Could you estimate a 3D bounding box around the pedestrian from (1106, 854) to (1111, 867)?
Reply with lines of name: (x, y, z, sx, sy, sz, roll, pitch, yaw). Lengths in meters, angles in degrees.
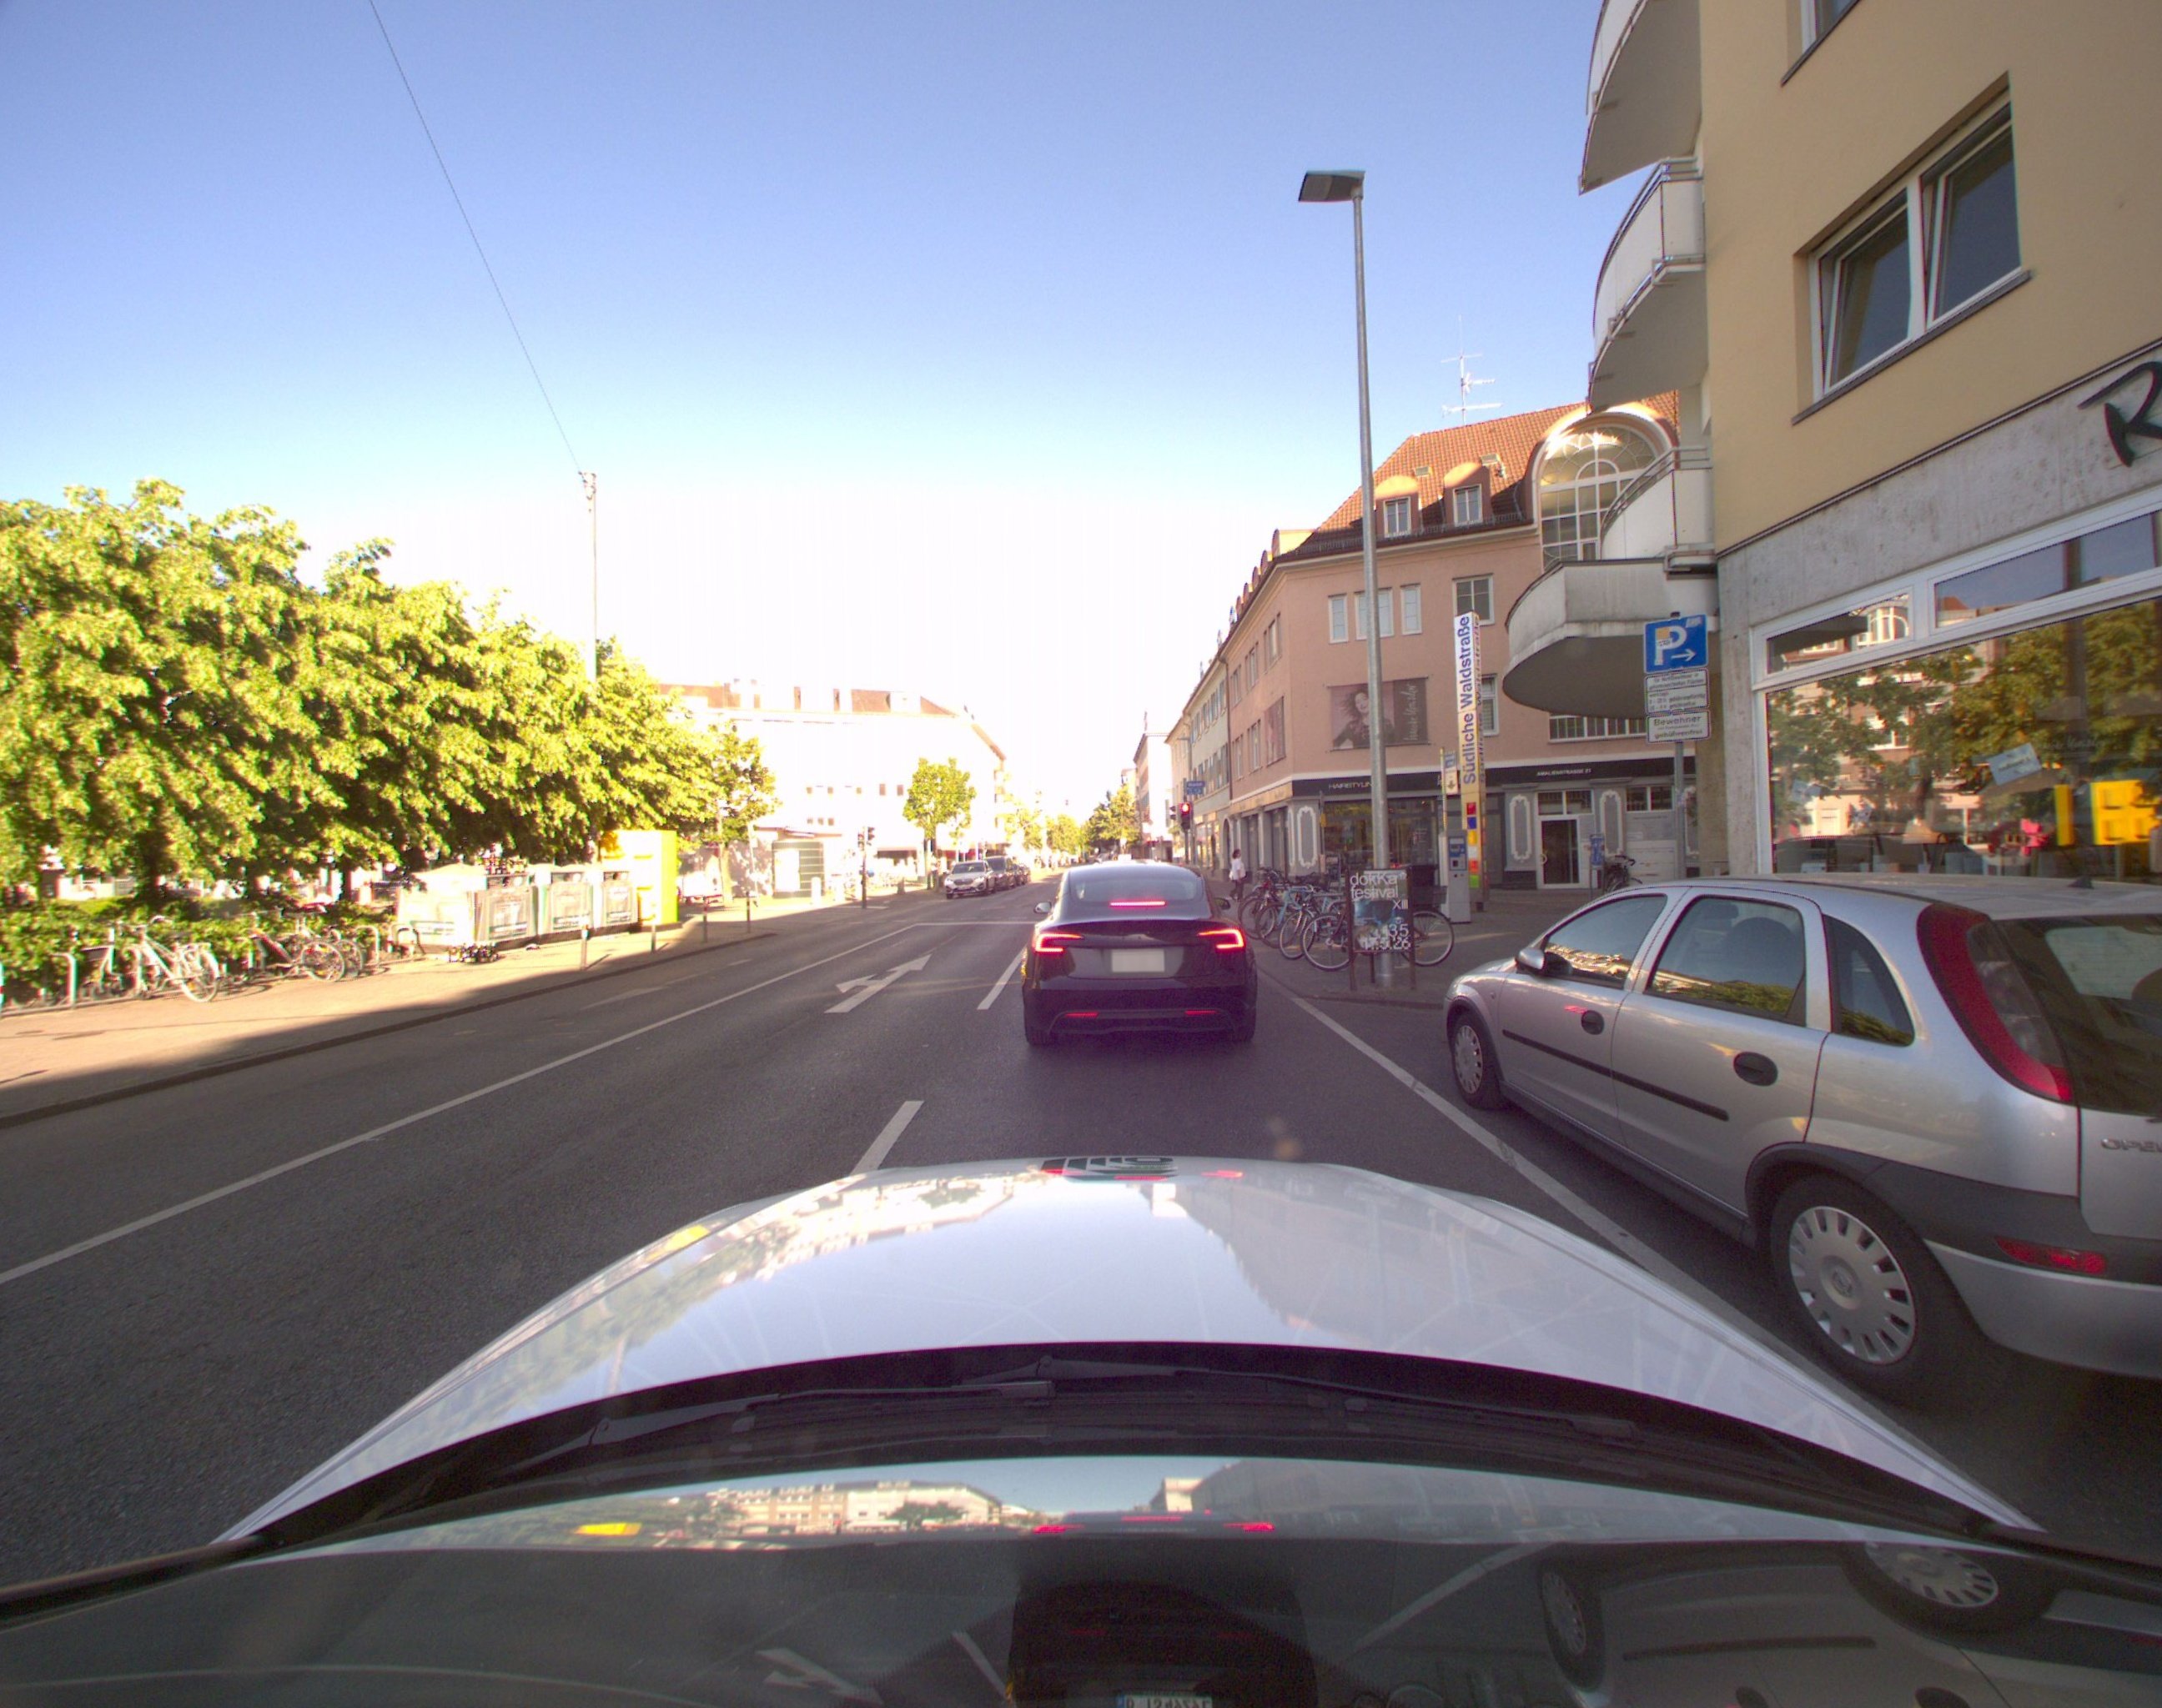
pedestrian: (4.051, 0.970, 121.851, 0.639, 2.014, 0.690, -1, -1, -2)

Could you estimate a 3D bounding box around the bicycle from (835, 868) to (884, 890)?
bicycle: (-12.376, 1.366, 45.559, 2.453, 1.156, 0.843, -1, 0, 0)

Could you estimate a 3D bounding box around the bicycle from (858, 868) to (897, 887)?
bicycle: (-13.165, 1.517, 52.700, 2.318, 1.156, 0.841, -1, 0, -4)

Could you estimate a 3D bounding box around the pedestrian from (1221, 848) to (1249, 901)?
pedestrian: (4.604, 0.595, 24.402, 0.743, 1.552, 0.700, -1, 0, 4)

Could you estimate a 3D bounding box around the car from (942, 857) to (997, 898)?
car: (-4.944, 0.993, 36.643, 1.802, 1.555, 4.308, -5, 0, -1)

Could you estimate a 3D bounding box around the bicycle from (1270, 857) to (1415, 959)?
bicycle: (3.542, 0.728, 11.162, 1.713, 1.268, 0.792, -3, -1, 7)

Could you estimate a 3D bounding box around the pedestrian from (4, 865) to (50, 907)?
pedestrian: (-51.535, 1.578, 39.822, 1.387, 2.014, 0.908, -1, 0, 17)

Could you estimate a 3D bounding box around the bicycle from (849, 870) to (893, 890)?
bicycle: (-12.949, 1.572, 50.264, 2.528, 1.156, 0.841, -1, 0, -4)

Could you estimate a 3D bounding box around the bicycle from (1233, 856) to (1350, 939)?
bicycle: (3.506, 0.713, 13.695, 1.738, 1.267, 0.782, -3, -1, 4)

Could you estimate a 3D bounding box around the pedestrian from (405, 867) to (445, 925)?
pedestrian: (-23.855, 1.506, 29.625, 0.980, 2.013, 0.910, -2, -1, 38)

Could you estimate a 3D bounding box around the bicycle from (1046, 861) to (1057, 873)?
bicycle: (-3.478, 1.543, 95.797, 1.108, 1.344, 3.998, -1, 0, -1)

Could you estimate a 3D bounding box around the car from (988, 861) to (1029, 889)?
car: (-4.362, 1.234, 49.689, 1.988, 1.410, 4.672, -5, 0, -1)

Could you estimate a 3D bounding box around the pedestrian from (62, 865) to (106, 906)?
pedestrian: (-49.909, 1.563, 40.785, 1.272, 2.013, 0.908, -1, 0, 13)

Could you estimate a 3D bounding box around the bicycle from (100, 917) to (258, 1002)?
bicycle: (-11.455, 1.330, 10.360, 1.590, 1.018, 0.430, -1, 0, 3)

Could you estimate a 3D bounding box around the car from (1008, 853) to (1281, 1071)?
car: (0.498, 0.759, 7.614, 1.841, 1.455, 4.001, -1, 0, 2)

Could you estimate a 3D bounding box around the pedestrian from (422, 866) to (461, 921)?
pedestrian: (-23.868, 1.453, 30.400, 0.980, 2.013, 0.910, -2, -1, 38)

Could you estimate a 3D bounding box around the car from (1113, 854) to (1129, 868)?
car: (4.941, 0.855, 100.839, 1.986, 1.629, 4.002, -1, 0, 2)

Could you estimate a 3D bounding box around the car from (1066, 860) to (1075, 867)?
car: (-2.484, 2.162, 187.379, 1.988, 1.637, 3.998, -1, 0, -1)

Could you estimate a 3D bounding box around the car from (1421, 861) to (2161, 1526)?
car: (2.970, 0.734, 3.533, 1.607, 1.382, 3.645, 0, 0, 2)

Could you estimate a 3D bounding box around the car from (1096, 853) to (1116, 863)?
car: (5.122, 0.850, 167.683, 3.974, 2.013, 2.000, -1, 0, 0)

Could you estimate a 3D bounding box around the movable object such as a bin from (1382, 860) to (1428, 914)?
movable object such as a bin: (6.752, 0.679, 16.990, 0.730, 1.092, 0.628, 0, -1, 3)

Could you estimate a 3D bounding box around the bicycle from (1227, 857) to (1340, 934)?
bicycle: (3.622, 0.742, 14.723, 1.851, 1.258, 0.834, -3, -1, 7)

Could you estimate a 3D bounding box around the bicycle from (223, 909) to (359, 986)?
bicycle: (-11.319, 1.334, 11.679, 1.561, 1.023, 0.430, -1, 0, 3)

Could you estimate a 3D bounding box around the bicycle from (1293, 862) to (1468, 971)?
bicycle: (3.638, 0.754, 10.026, 1.876, 1.193, 0.693, -3, 0, 7)

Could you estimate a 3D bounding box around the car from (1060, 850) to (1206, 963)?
car: (0.740, 0.725, 13.322, 1.987, 1.512, 4.175, -1, 0, 0)

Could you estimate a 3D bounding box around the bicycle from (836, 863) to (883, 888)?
bicycle: (-12.906, 1.246, 47.506, 2.472, 1.324, 0.921, -1, 0, -4)

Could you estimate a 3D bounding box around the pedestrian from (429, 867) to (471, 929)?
pedestrian: (-21.442, 1.473, 27.685, 0.980, 2.013, 0.910, -2, -1, 38)

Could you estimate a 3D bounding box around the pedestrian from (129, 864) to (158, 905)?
pedestrian: (-48.091, 1.547, 41.771, 1.205, 2.013, 0.910, -1, 0, 39)

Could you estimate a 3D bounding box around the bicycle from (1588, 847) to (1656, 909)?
bicycle: (11.074, 0.461, 16.733, 0.653, 1.199, 2.223, -2, 0, 21)

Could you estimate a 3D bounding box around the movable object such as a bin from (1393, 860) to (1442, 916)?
movable object such as a bin: (6.743, 0.674, 16.352, 0.749, 1.092, 0.628, 0, -1, 3)

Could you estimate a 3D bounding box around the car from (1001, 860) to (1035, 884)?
car: (-4.393, 1.259, 57.287, 1.988, 1.436, 4.672, -5, 0, -1)

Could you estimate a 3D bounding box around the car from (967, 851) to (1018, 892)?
car: (-4.586, 0.863, 42.869, 1.827, 1.845, 4.677, -5, 0, 2)

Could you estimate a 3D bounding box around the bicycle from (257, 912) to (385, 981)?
bicycle: (-11.376, 1.373, 12.206, 1.517, 0.958, 0.431, -1, 1, 3)

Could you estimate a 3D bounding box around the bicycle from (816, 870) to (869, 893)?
bicycle: (-12.582, 1.439, 43.029, 2.497, 1.156, 0.843, -1, 0, 0)

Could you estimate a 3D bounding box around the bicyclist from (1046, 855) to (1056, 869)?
bicyclist: (-3.504, 0.928, 95.894, 1.123, 1.628, 0.965, -1, 0, -1)

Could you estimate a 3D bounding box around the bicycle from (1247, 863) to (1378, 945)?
bicycle: (3.522, 0.756, 12.514, 1.788, 1.124, 0.783, -3, -1, 7)
